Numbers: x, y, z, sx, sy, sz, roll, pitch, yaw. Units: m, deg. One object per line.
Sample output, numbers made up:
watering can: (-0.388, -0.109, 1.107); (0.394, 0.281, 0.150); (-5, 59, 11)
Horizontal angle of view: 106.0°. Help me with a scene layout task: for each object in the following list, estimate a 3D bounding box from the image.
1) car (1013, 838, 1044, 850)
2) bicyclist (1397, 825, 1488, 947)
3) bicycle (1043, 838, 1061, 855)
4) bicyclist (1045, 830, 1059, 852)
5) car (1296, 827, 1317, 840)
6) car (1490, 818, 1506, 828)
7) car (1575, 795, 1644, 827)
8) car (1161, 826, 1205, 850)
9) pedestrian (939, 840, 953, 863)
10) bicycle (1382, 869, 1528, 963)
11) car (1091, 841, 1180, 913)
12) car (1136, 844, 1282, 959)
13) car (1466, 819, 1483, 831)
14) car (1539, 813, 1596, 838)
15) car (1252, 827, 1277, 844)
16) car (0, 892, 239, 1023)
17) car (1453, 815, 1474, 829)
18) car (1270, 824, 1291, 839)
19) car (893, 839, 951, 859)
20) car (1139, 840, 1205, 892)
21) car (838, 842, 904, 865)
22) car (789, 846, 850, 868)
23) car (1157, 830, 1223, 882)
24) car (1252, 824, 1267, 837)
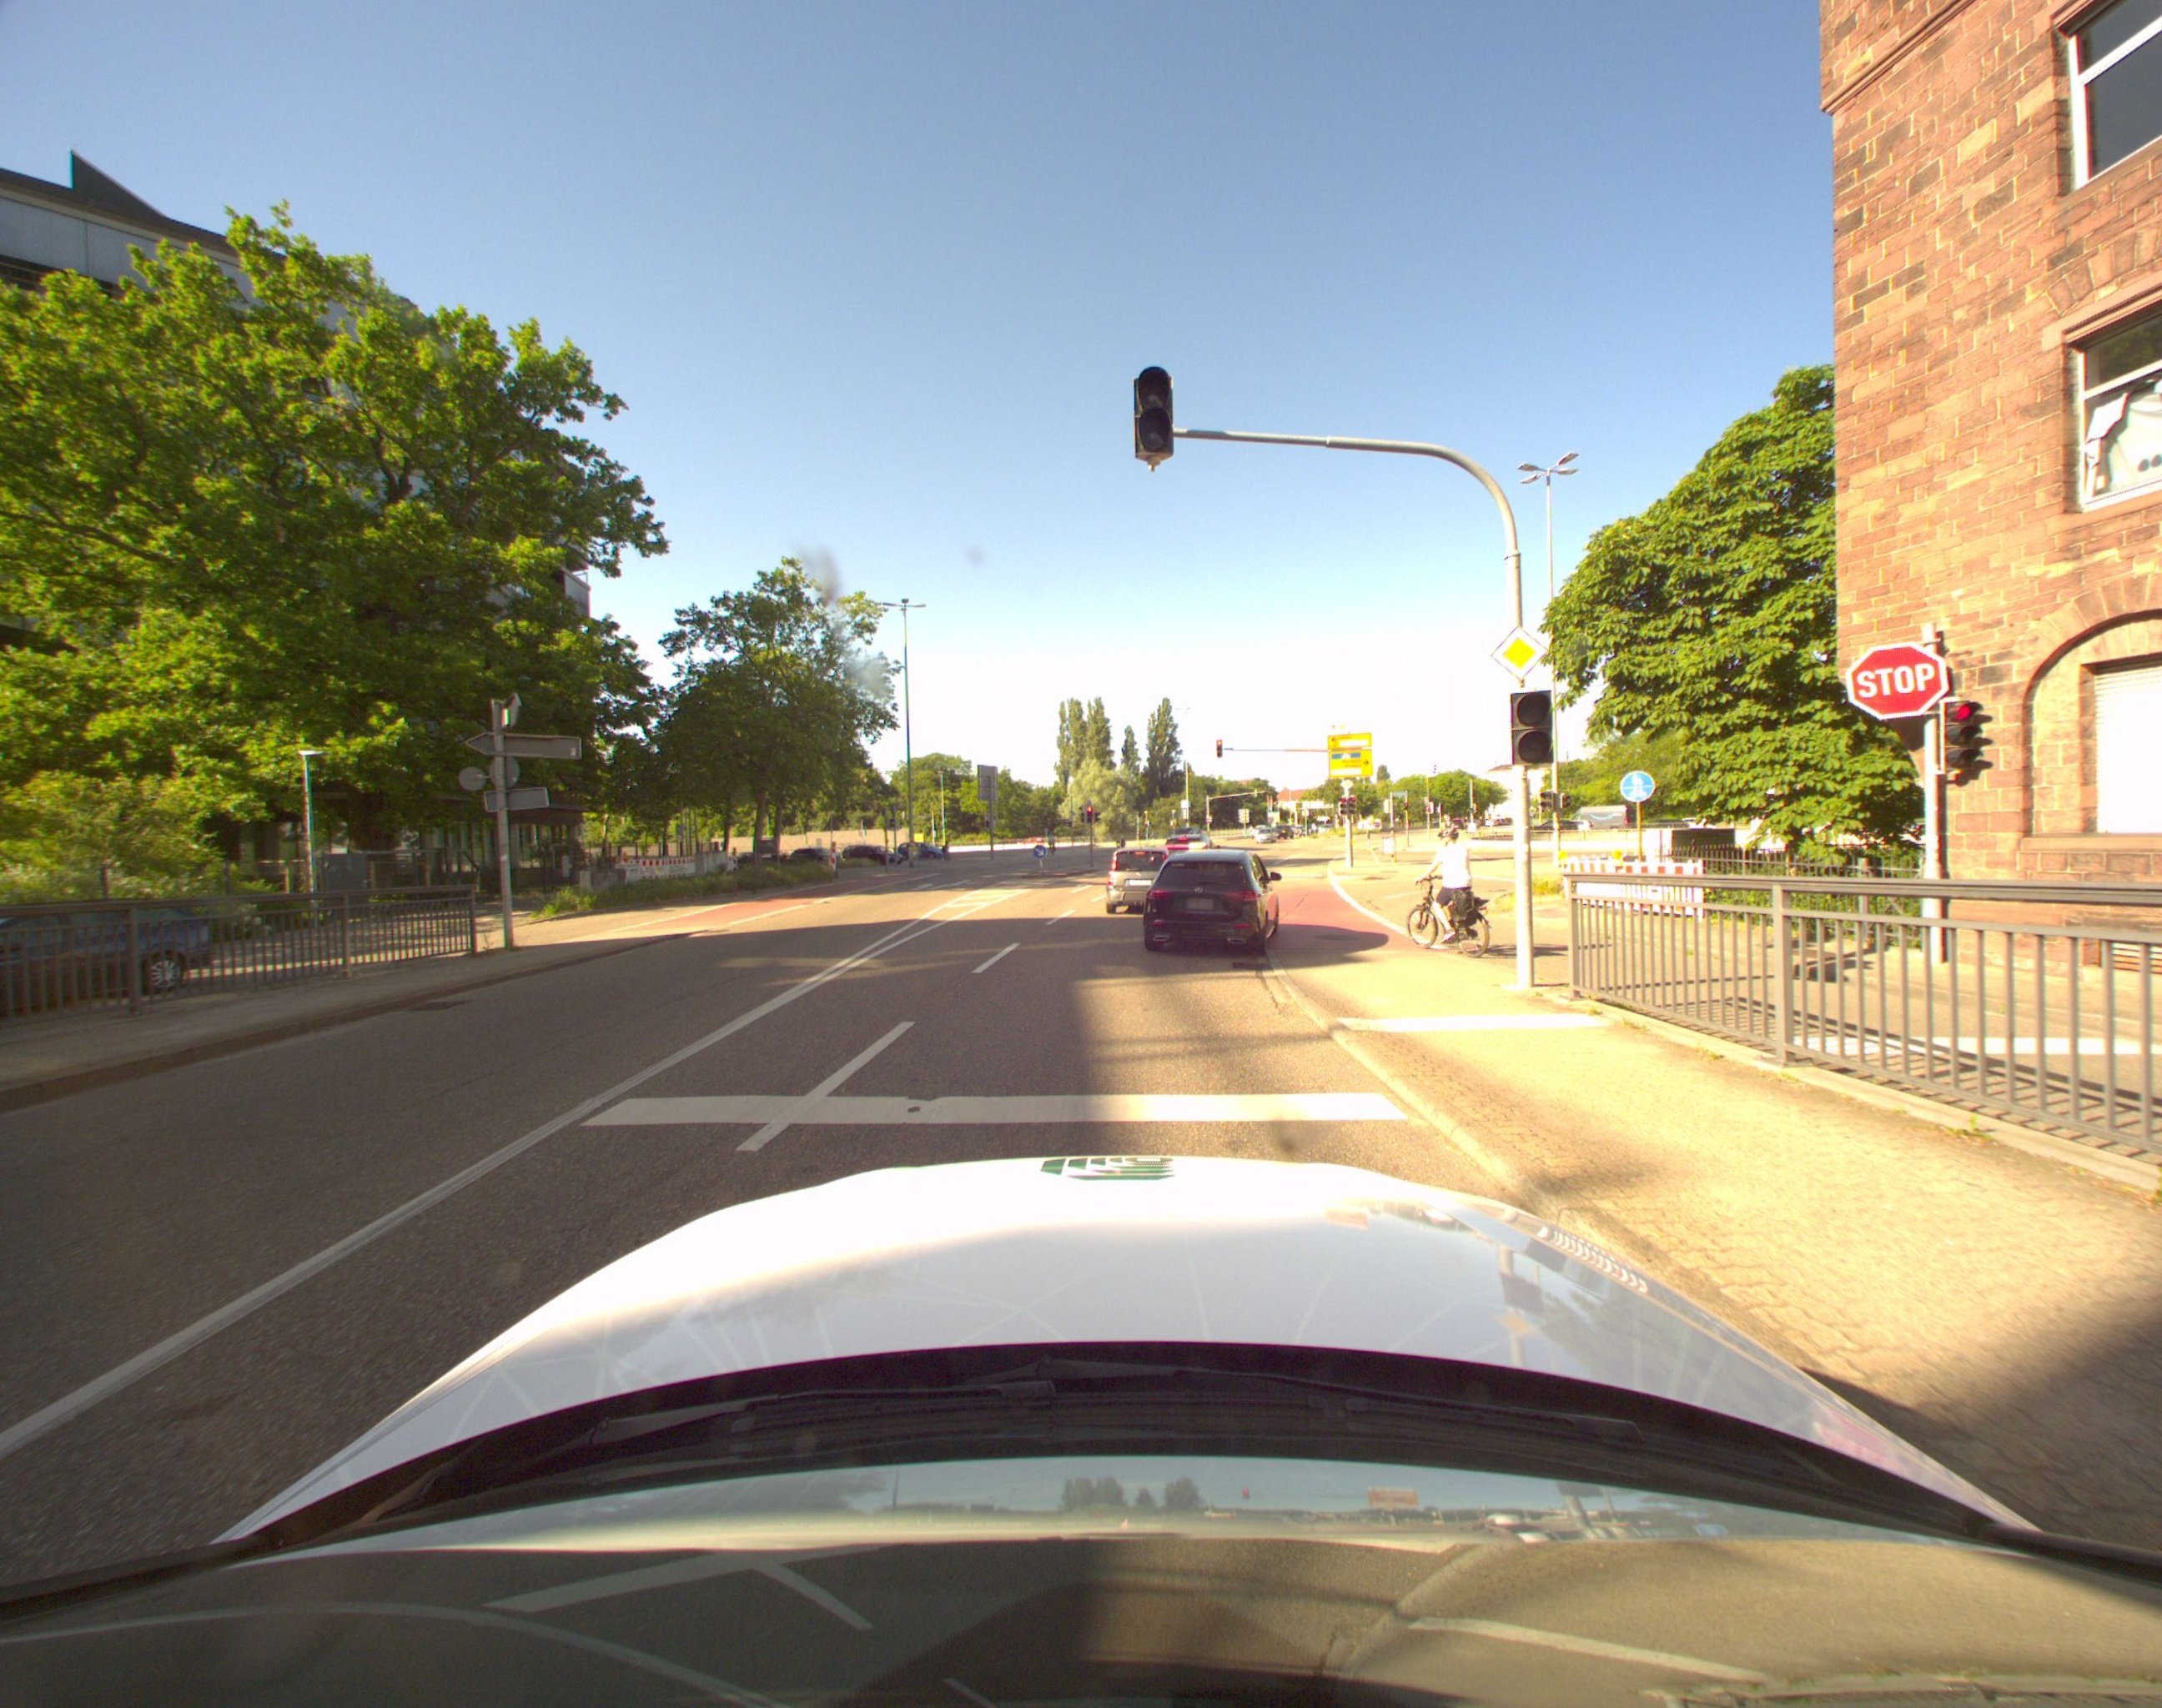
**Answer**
car: (-7.581, -1.430, 117.476); (3.964, 1.548, 2.005); (-1, 1, 8)
bicyclist: (5.291, 0.432, 11.984); (0.798, 1.705, 1.083); (0, 1, -6)
bicycle: (-2.240, -0.598, 63.922); (0.681, 1.202, 2.338); (-1, 3, 16)
bicyclist: (-2.292, -1.021, 63.782); (0.681, 1.701, 1.203); (-1, 2, 16)
car: (28.860, -2.639, 103.995); (1.976, 1.453, 4.023); (-1, 1, 24)
car: (76.516, -5.651, 149.509); (1.974, 1.639, 4.026); (-2, 1, 36)
car: (48.966, -3.951, 75.602); (2.268, 2.607, 4.838); (0, -1, -31)
car: (9.076, -1.455, 72.166); (1.974, 1.935, 4.883); (-1, 2, 32)
pedestrian: (-9.749, -0.183, 58.953); (0.683, 1.538, 1.368); (-1, -4, 5)
bicycle: (5.328, 0.828, 11.815); (0.798, 1.110, 2.396); (-1, 2, -7)
car: (1.427, 0.483, 19.872); (1.810, 1.489, 4.010); (-2, 1, 8)
car: (2.239, 0.629, 13.274); (1.737, 1.493, 4.019); (0, 2, 18)
car: (64.413, -4.745, 133.312); (1.974, 1.793, 4.026); (-2, 1, 33)
car: (42.570, -2.458, 71.296); (2.011, 2.014, 3.950); (0, -1, -45)
car: (18.312, -1.841, 80.972); (1.804, 1.582, 4.125); (-2, 1, 21)
car: (-15.229, 1.492, 11.588); (1.815, 1.503, 4.450); (-2, 1, -1)
car: (54.622, -4.590, 116.320); (1.974, 1.794, 4.025); (-1, -1, 35)
car: (22.578, -2.566, 91.965); (1.708, 1.582, 4.026); (-1, 2, 23)
car: (-13.186, -0.397, 67.438); (4.396, 1.438, 1.837); (-2, 1, 25)
car: (2.941, 0.323, 25.656); (1.809, 1.479, 4.011); (-1, 1, 10)
car: (-14.852, -0.018, 57.615); (4.394, 1.438, 1.838); (-2, 1, 29)
car: (-19.821, 0.224, 61.654); (4.394, 1.438, 1.838); (-2, 1, 29)
car: (4.221, 0.009, 31.038); (1.854, 1.790, 4.434); (0, 2, 16)
car: (23.016, -3.050, 105.028); (1.821, 1.653, 4.646); (-2, 1, 13)
